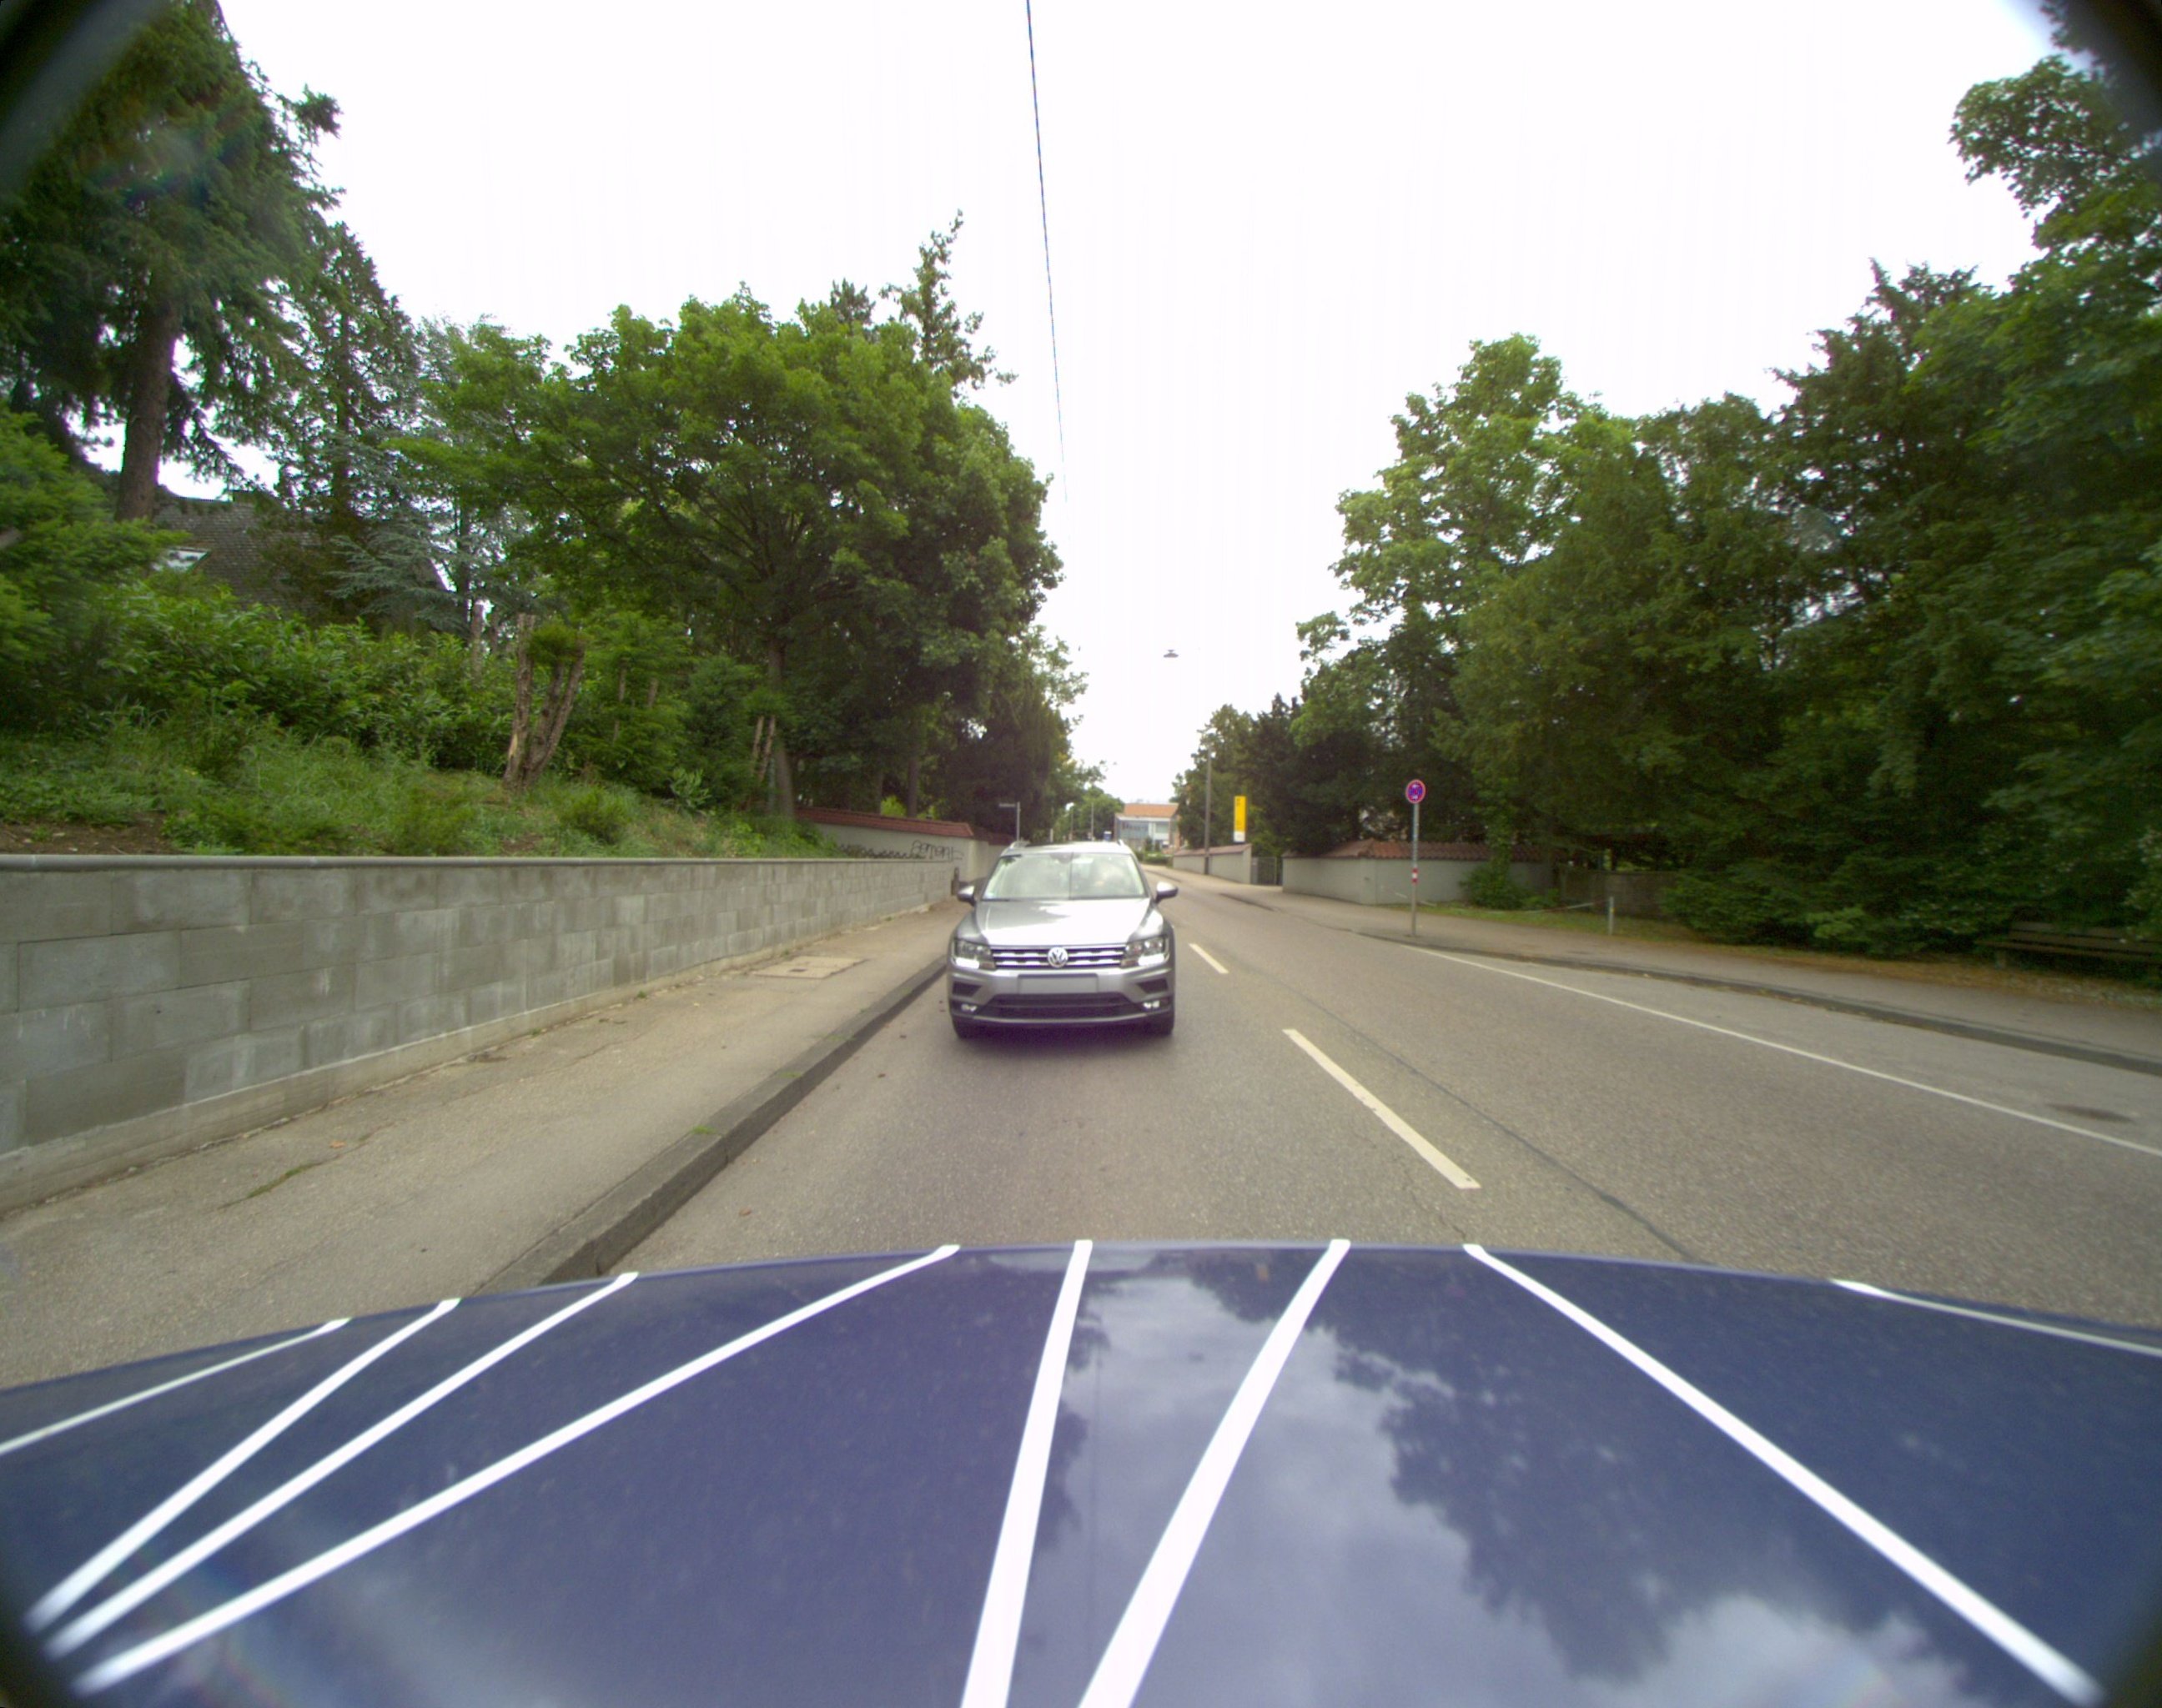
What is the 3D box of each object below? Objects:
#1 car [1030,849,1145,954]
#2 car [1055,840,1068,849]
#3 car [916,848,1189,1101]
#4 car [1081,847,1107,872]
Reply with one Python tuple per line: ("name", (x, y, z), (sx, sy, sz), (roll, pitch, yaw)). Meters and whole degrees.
("car", (0.114, 0.731, 14.298), (1.820, 1.647, 4.487), (0, 1, 0))
("car", (-3.683, -1.794, 142.556), (1.878, 1.647, 4.251), (0, 1, -9))
("car", (-0.180, 0.806, 7.522), (1.820, 1.690, 4.718), (-1, 0, 0))
("car", (0.938, 0.384, 55.887), (1.820, 1.733, 4.487), (0, 1, 0))
